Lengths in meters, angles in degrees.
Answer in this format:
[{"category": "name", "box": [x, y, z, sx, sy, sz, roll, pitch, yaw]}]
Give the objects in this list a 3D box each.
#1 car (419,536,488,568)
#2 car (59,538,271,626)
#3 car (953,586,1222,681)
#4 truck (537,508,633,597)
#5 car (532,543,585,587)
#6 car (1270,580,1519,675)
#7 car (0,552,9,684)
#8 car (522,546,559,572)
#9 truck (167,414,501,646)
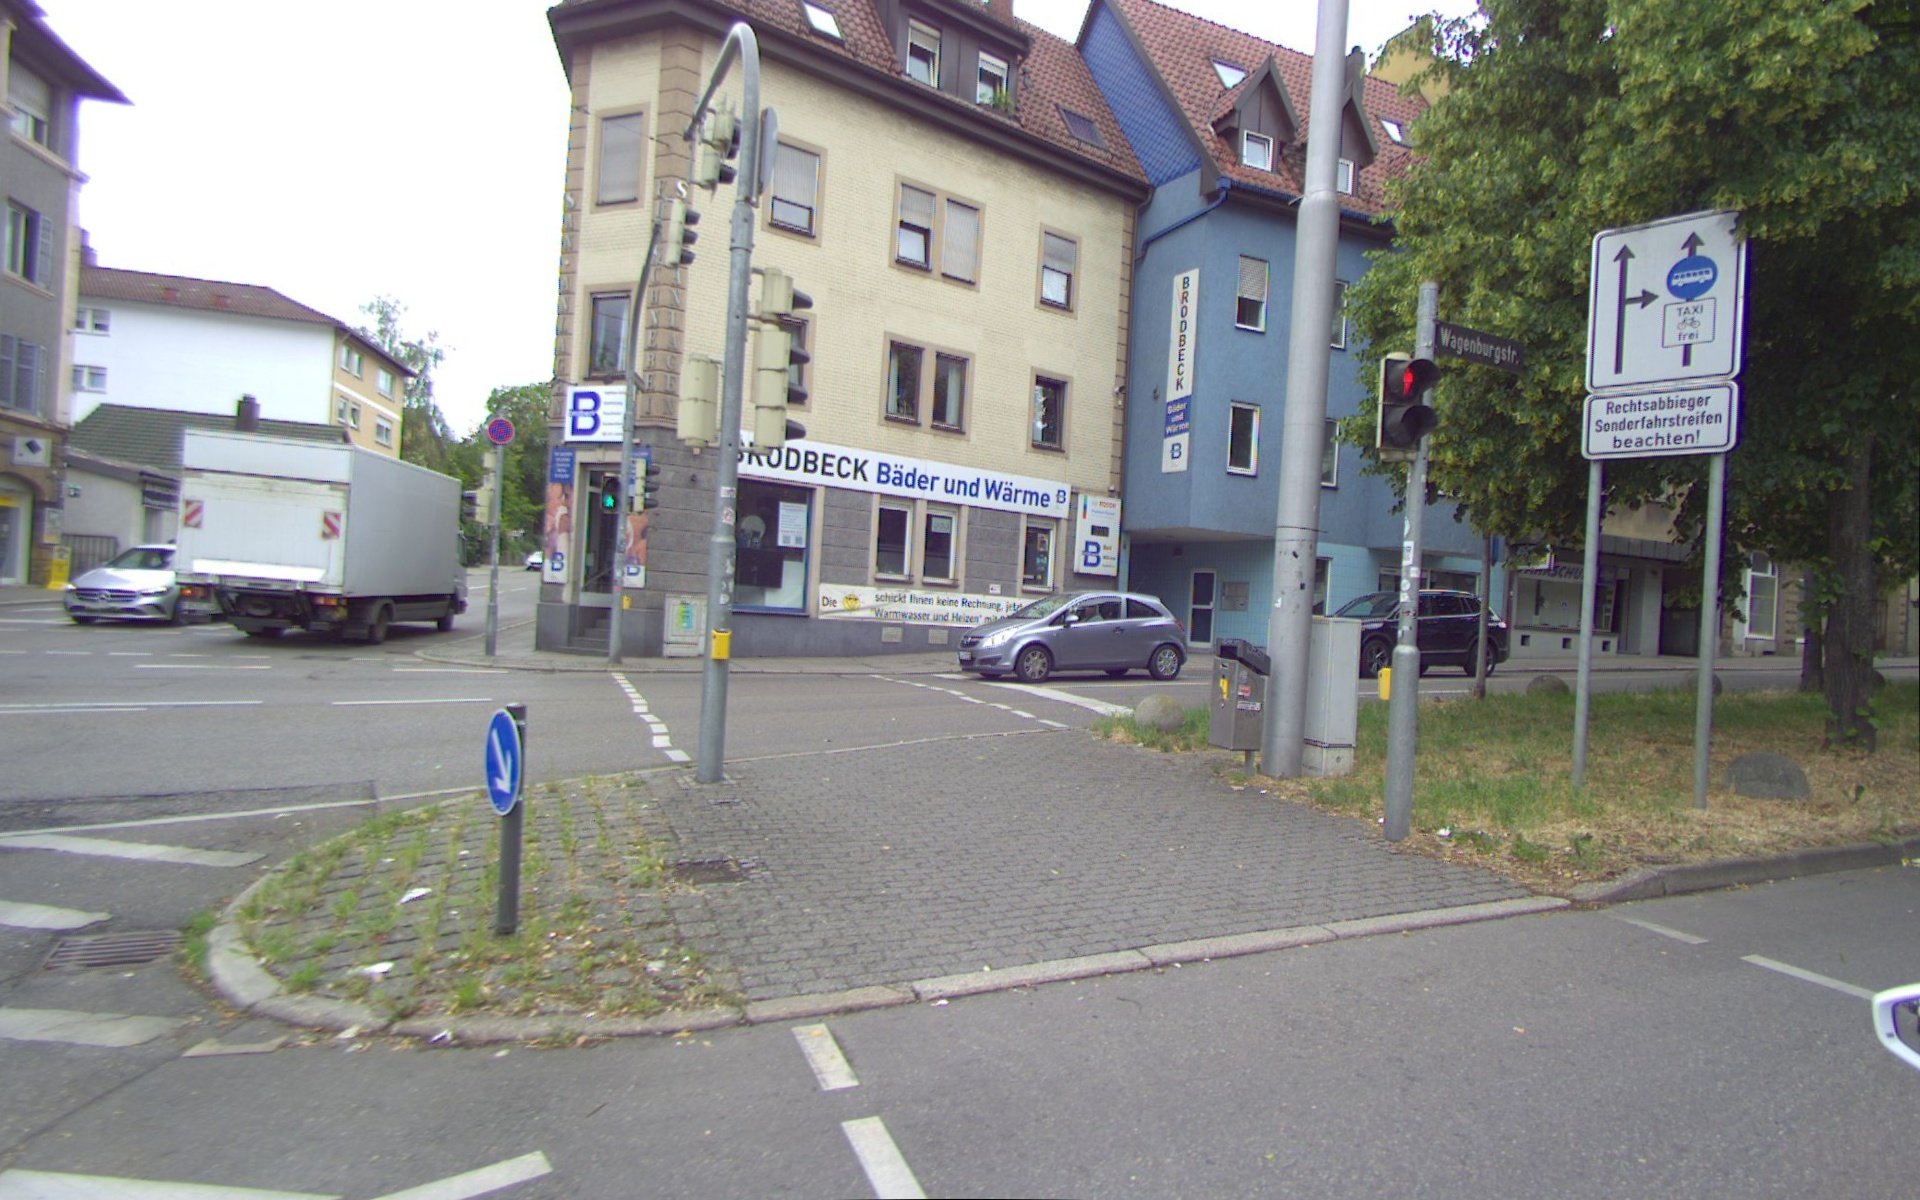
[{"category": "car", "box": [-34.704, -3.259, 68.932, 3.957, 1.913, 1.848, 3, 0, -23]}, {"category": "car", "box": [-15.736, -0.359, 20.169, 1.623, 1.492, 4.045, 3, 0, -12]}, {"category": "car", "box": [2.143, 0.532, 16.734, 4.236, 1.425, 1.664, 1, 0, -25]}, {"category": "truck", "box": [-16.811, -2.007, 45.612, 2.664, 3.486, 8.494, 3, 0, -12]}, {"category": "car", "box": [-22.445, -1.923, 56.287, 1.966, 2.292, 3.990, 3, 0, -12]}, {"category": "car", "box": [8.493, 0.575, 19.597, 4.614, 1.658, 1.811, 2, -2, -24]}, {"category": "car", "box": [-10.877, 0.144, 8.324, 1.673, 1.360, 4.269, 4, 1, 5]}, {"category": "car", "box": [-31.667, -3.037, 75.931, 1.842, 1.768, 3.950, 3, 0, -14]}, {"category": "truck", "box": [-12.181, -1.187, 20.713, 2.662, 3.622, 8.498, 3, 0, -10]}]
